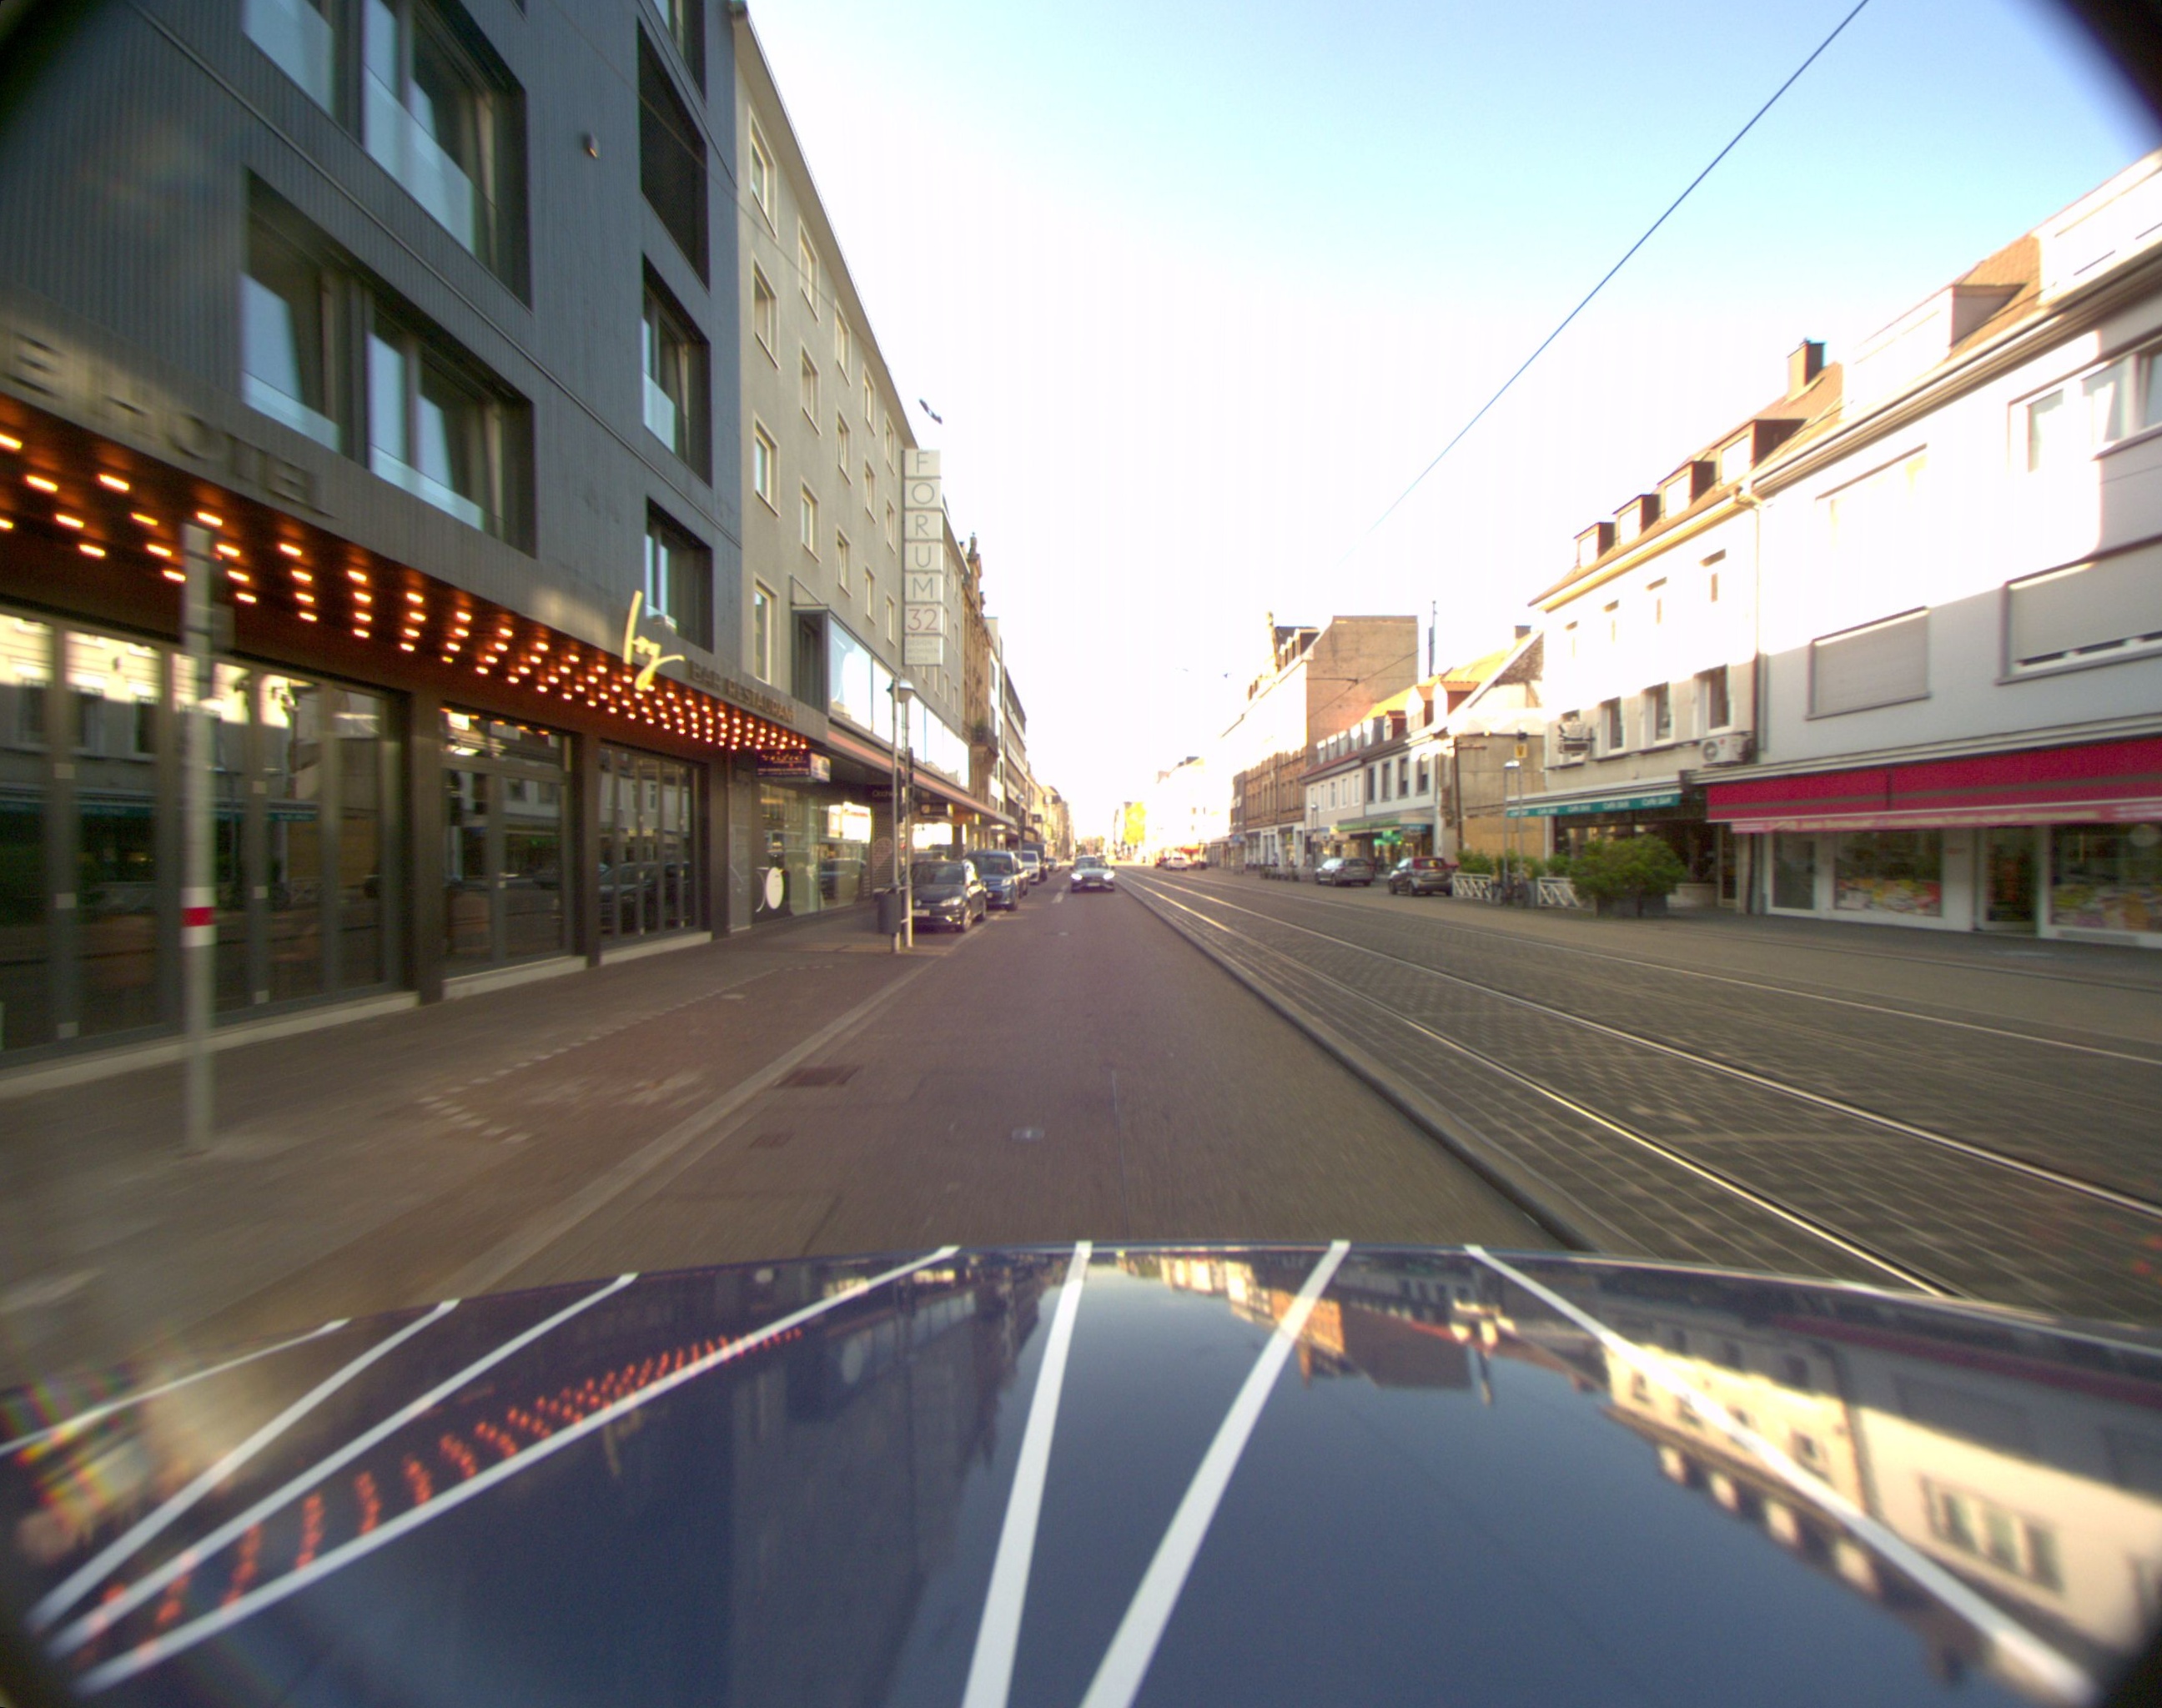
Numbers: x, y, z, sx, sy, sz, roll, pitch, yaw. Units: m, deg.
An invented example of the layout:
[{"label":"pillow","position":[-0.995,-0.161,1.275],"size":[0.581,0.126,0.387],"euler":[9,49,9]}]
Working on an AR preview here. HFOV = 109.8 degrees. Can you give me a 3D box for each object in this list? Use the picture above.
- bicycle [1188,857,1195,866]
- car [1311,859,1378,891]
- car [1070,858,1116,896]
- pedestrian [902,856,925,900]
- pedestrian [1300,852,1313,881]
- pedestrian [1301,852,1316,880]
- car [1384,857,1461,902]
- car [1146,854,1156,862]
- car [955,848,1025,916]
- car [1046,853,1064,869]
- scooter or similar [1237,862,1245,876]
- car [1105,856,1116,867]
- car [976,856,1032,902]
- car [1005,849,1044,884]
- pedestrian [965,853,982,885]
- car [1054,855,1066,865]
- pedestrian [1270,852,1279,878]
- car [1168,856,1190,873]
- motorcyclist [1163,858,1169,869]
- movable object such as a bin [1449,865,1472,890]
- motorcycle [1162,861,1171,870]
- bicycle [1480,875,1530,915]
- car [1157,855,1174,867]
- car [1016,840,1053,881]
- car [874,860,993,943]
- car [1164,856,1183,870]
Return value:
[{"label":"bicycle","position":[13.996,0.949,96.131],"size":[0.610,1.142,2.100],"euler":[-2,1,0]},{"label":"car","position":[13.553,1.040,39.339],"size":[1.822,1.505,4.762],"euler":[-1,0,0]},{"label":"car","position":[0.473,0.932,32.872],"size":[1.858,1.463,4.785],"euler":[0,0,0]},{"label":"pedestrian","position":[-5.714,0.811,25.975],"size":[0.577,1.431,0.731],"euler":[2,1,0]},{"label":"pedestrian","position":[14.714,0.811,49.575],"size":[0.657,1.838,0.583],"euler":[-2,1,31]},{"label":"pedestrian","position":[14.550,0.753,48.605],"size":[0.658,1.752,0.581],"euler":[-2,1,-8]},{"label":"car","position":[13.331,0.965,29.847],"size":[1.701,1.594,2.891],"euler":[-2,1,0]},{"label":"car","position":[14.709,0.792,159.891],"size":[1.630,1.524,3.463],"euler":[2,1,0]},{"label":"car","position":[-2.668,0.743,23.154],"size":[1.821,1.849,4.548],"euler":[1,0,-3]},{"label":"car","position":[-2.649,0.711,78.474],"size":[1.630,1.543,3.508],"euler":[2,1,0]},{"label":"scooter or similar","position":[13.818,1.278,65.746],"size":[0.404,1.216,1.202],"euler":[-2,1,0]},{"label":"car","position":[5.639,1.444,145.793],"size":[1.998,2.002,4.000],"euler":[-2,1,1]},{"label":"car","position":[-2.911,0.899,29.612],"size":[1.768,1.568,4.287],"euler":[1,0,-1]},{"label":"car","position":[-3.174,0.659,43.274],"size":[2.052,1.899,4.877],"euler":[0,1,-2]},{"label":"pedestrian","position":[-5.105,0.697,36.171],"size":[0.697,1.499,0.814],"euler":[0,0,0]},{"label":"car","position":[-2.982,0.784,107.627],"size":[1.630,1.342,3.463],"euler":[2,1,0]},{"label":"pedestrian","position":[13.770,0.757,54.069],"size":[0.581,1.795,0.659],"euler":[-2,1,12]},{"label":"car","position":[10.288,1.078,80.088],"size":[1.802,1.625,3.676],"euler":[0,1,0]},{"label":"motorcyclist","position":[10.233,1.129,91.542],"size":[0.540,1.295,0.655],"euler":[1,1,0]},{"label":"movable object such as a bin","position":[17.339,1.052,34.708],"size":[0.661,1.087,0.697],"euler":[-2,1,0]},{"label":"motorcycle","position":[10.274,1.390,91.539],"size":[0.907,0.987,1.935],"euler":[1,1,0]},{"label":"bicycle","position":[12.657,1.204,22.750],"size":[0.519,1.084,1.716],"euler":[-2,1,1]},{"label":"car","position":[10.716,0.871,96.446],"size":[1.667,1.521,4.000],"euler":[1,1,0]},{"label":"car","position":[-3.017,0.447,50.314],"size":[2.051,2.486,5.687],"euler":[-2,-1,-1]},{"label":"car","position":[-3.090,0.934,16.818],"size":[1.726,1.476,4.416],"euler":[2,1,0]},{"label":"car","position":[10.524,1.006,86.737],"size":[1.667,1.521,4.000],"euler":[1,1,0]}]
